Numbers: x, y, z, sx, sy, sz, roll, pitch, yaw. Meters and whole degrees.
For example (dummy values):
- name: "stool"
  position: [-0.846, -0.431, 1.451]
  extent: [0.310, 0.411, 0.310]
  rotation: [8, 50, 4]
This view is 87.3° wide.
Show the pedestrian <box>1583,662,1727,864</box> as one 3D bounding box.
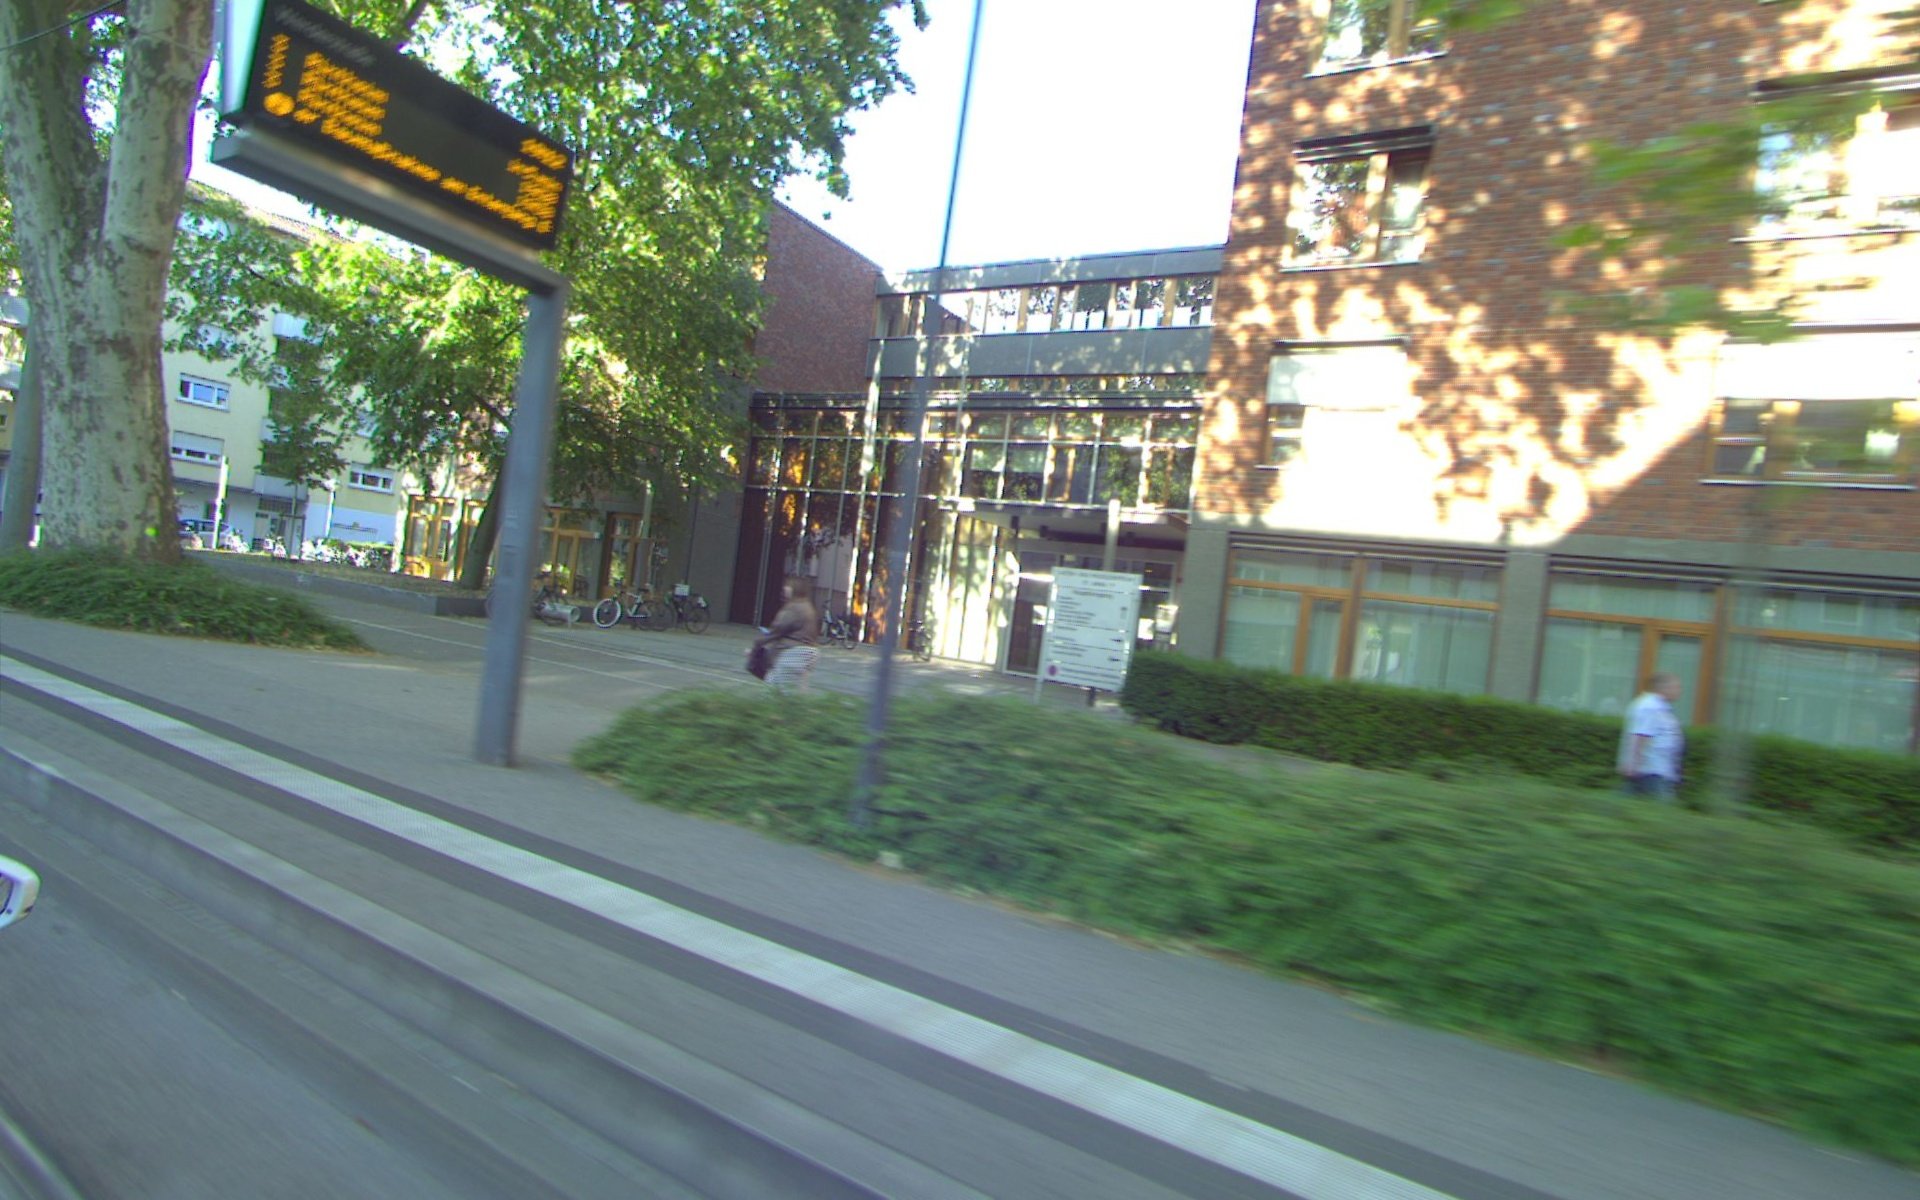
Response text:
- name: "pedestrian"
  position: [6.514, 1.490, 9.484]
  extent: [0.902, 1.680, 0.767]
  rotation: [7, 1, 32]

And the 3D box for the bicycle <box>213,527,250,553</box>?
- name: "bicycle"
  position: [-36.835, -3.009, 50.869]
  extent: [0.591, 1.171, 1.696]
  rotation: [6, 1, -3]

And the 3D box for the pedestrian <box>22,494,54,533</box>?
- name: "pedestrian"
  position: [-40.070, -3.750, 43.719]
  extent: [0.692, 1.558, 0.688]
  rotation: [7, 1, -18]

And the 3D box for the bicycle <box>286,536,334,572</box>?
- name: "bicycle"
  position: [-25.306, -1.793, 39.159]
  extent: [2.017, 1.171, 0.731]
  rotation: [7, 2, 32]

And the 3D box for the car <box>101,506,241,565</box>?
- name: "car"
  position: [-31.157, -2.525, 39.823]
  extent: [1.835, 1.713, 3.867]
  rotation: [7, -1, 31]

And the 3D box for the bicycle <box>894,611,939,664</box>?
- name: "bicycle"
  position: [-1.060, 0.910, 24.828]
  extent: [0.719, 1.171, 1.950]
  rotation: [6, 1, 6]

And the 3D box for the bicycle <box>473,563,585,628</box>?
- name: "bicycle"
  position: [-8.925, -0.073, 20.896]
  extent: [0.564, 1.171, 2.027]
  rotation: [7, 1, 41]

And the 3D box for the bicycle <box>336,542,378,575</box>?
- name: "bicycle"
  position: [-24.422, -1.686, 40.727]
  extent: [1.669, 1.171, 0.661]
  rotation: [7, 2, 31]

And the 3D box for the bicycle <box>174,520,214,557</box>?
- name: "bicycle"
  position: [-27.681, -2.214, 36.364]
  extent: [1.671, 1.171, 0.600]
  rotation: [7, 2, 35]

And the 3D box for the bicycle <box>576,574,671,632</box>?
- name: "bicycle"
  position: [-7.686, 0.091, 23.094]
  extent: [0.563, 1.171, 2.030]
  rotation: [7, 1, 36]

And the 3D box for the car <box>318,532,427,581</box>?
- name: "car"
  position: [-27.222, -1.987, 46.735]
  extent: [1.835, 1.713, 3.867]
  rotation: [7, -1, 31]

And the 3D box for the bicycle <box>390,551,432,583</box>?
- name: "bicycle"
  position: [-23.109, -1.387, 42.320]
  extent: [1.666, 1.172, 0.521]
  rotation: [6, 2, 21]

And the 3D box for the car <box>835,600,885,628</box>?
- name: "car"
  position: [-7.871, 1.117, 79.319]
  extent: [1.835, 1.713, 3.867]
  rotation: [7, -1, 31]

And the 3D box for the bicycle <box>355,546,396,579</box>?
- name: "bicycle"
  position: [-24.025, -1.543, 41.330]
  extent: [1.669, 1.171, 0.661]
  rotation: [7, 2, 31]

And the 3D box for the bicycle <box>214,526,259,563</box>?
- name: "bicycle"
  position: [-26.598, -2.050, 36.983]
  extent: [1.668, 1.172, 0.601]
  rotation: [7, 2, 27]

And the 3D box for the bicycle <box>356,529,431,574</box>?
- name: "bicycle"
  position: [-17.922, -1.525, 31.836]
  extent: [1.921, 1.171, 0.565]
  rotation: [5, 1, -43]

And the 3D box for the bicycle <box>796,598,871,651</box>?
- name: "bicycle"
  position: [-3.340, 0.631, 26.466]
  extent: [2.009, 1.171, 0.704]
  rotation: [7, 2, 41]

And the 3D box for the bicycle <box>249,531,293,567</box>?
- name: "bicycle"
  position: [-26.158, -1.948, 38.172]
  extent: [1.950, 1.171, 0.636]
  rotation: [7, 2, 34]

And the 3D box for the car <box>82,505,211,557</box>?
- name: "car"
  position: [-35.432, -2.988, 43.901]
  extent: [1.835, 1.571, 3.867]
  rotation: [10, 1, 31]

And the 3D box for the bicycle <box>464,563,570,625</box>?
- name: "bicycle"
  position: [-9.489, -0.113, 21.632]
  extent: [0.562, 1.171, 2.032]
  rotation: [7, 1, 32]

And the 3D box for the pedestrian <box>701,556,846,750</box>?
- name: "pedestrian"
  position: [-1.772, 0.492, 9.576]
  extent: [0.902, 1.680, 0.767]
  rotation: [7, 1, 32]

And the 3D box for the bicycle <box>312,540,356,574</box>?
- name: "bicycle"
  position: [-24.931, -1.712, 40.039]
  extent: [1.820, 1.171, 0.661]
  rotation: [7, 2, 31]

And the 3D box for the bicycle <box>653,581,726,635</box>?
- name: "bicycle"
  position: [-6.636, 0.213, 24.752]
  extent: [0.563, 1.171, 1.676]
  rotation: [7, 1, 36]
